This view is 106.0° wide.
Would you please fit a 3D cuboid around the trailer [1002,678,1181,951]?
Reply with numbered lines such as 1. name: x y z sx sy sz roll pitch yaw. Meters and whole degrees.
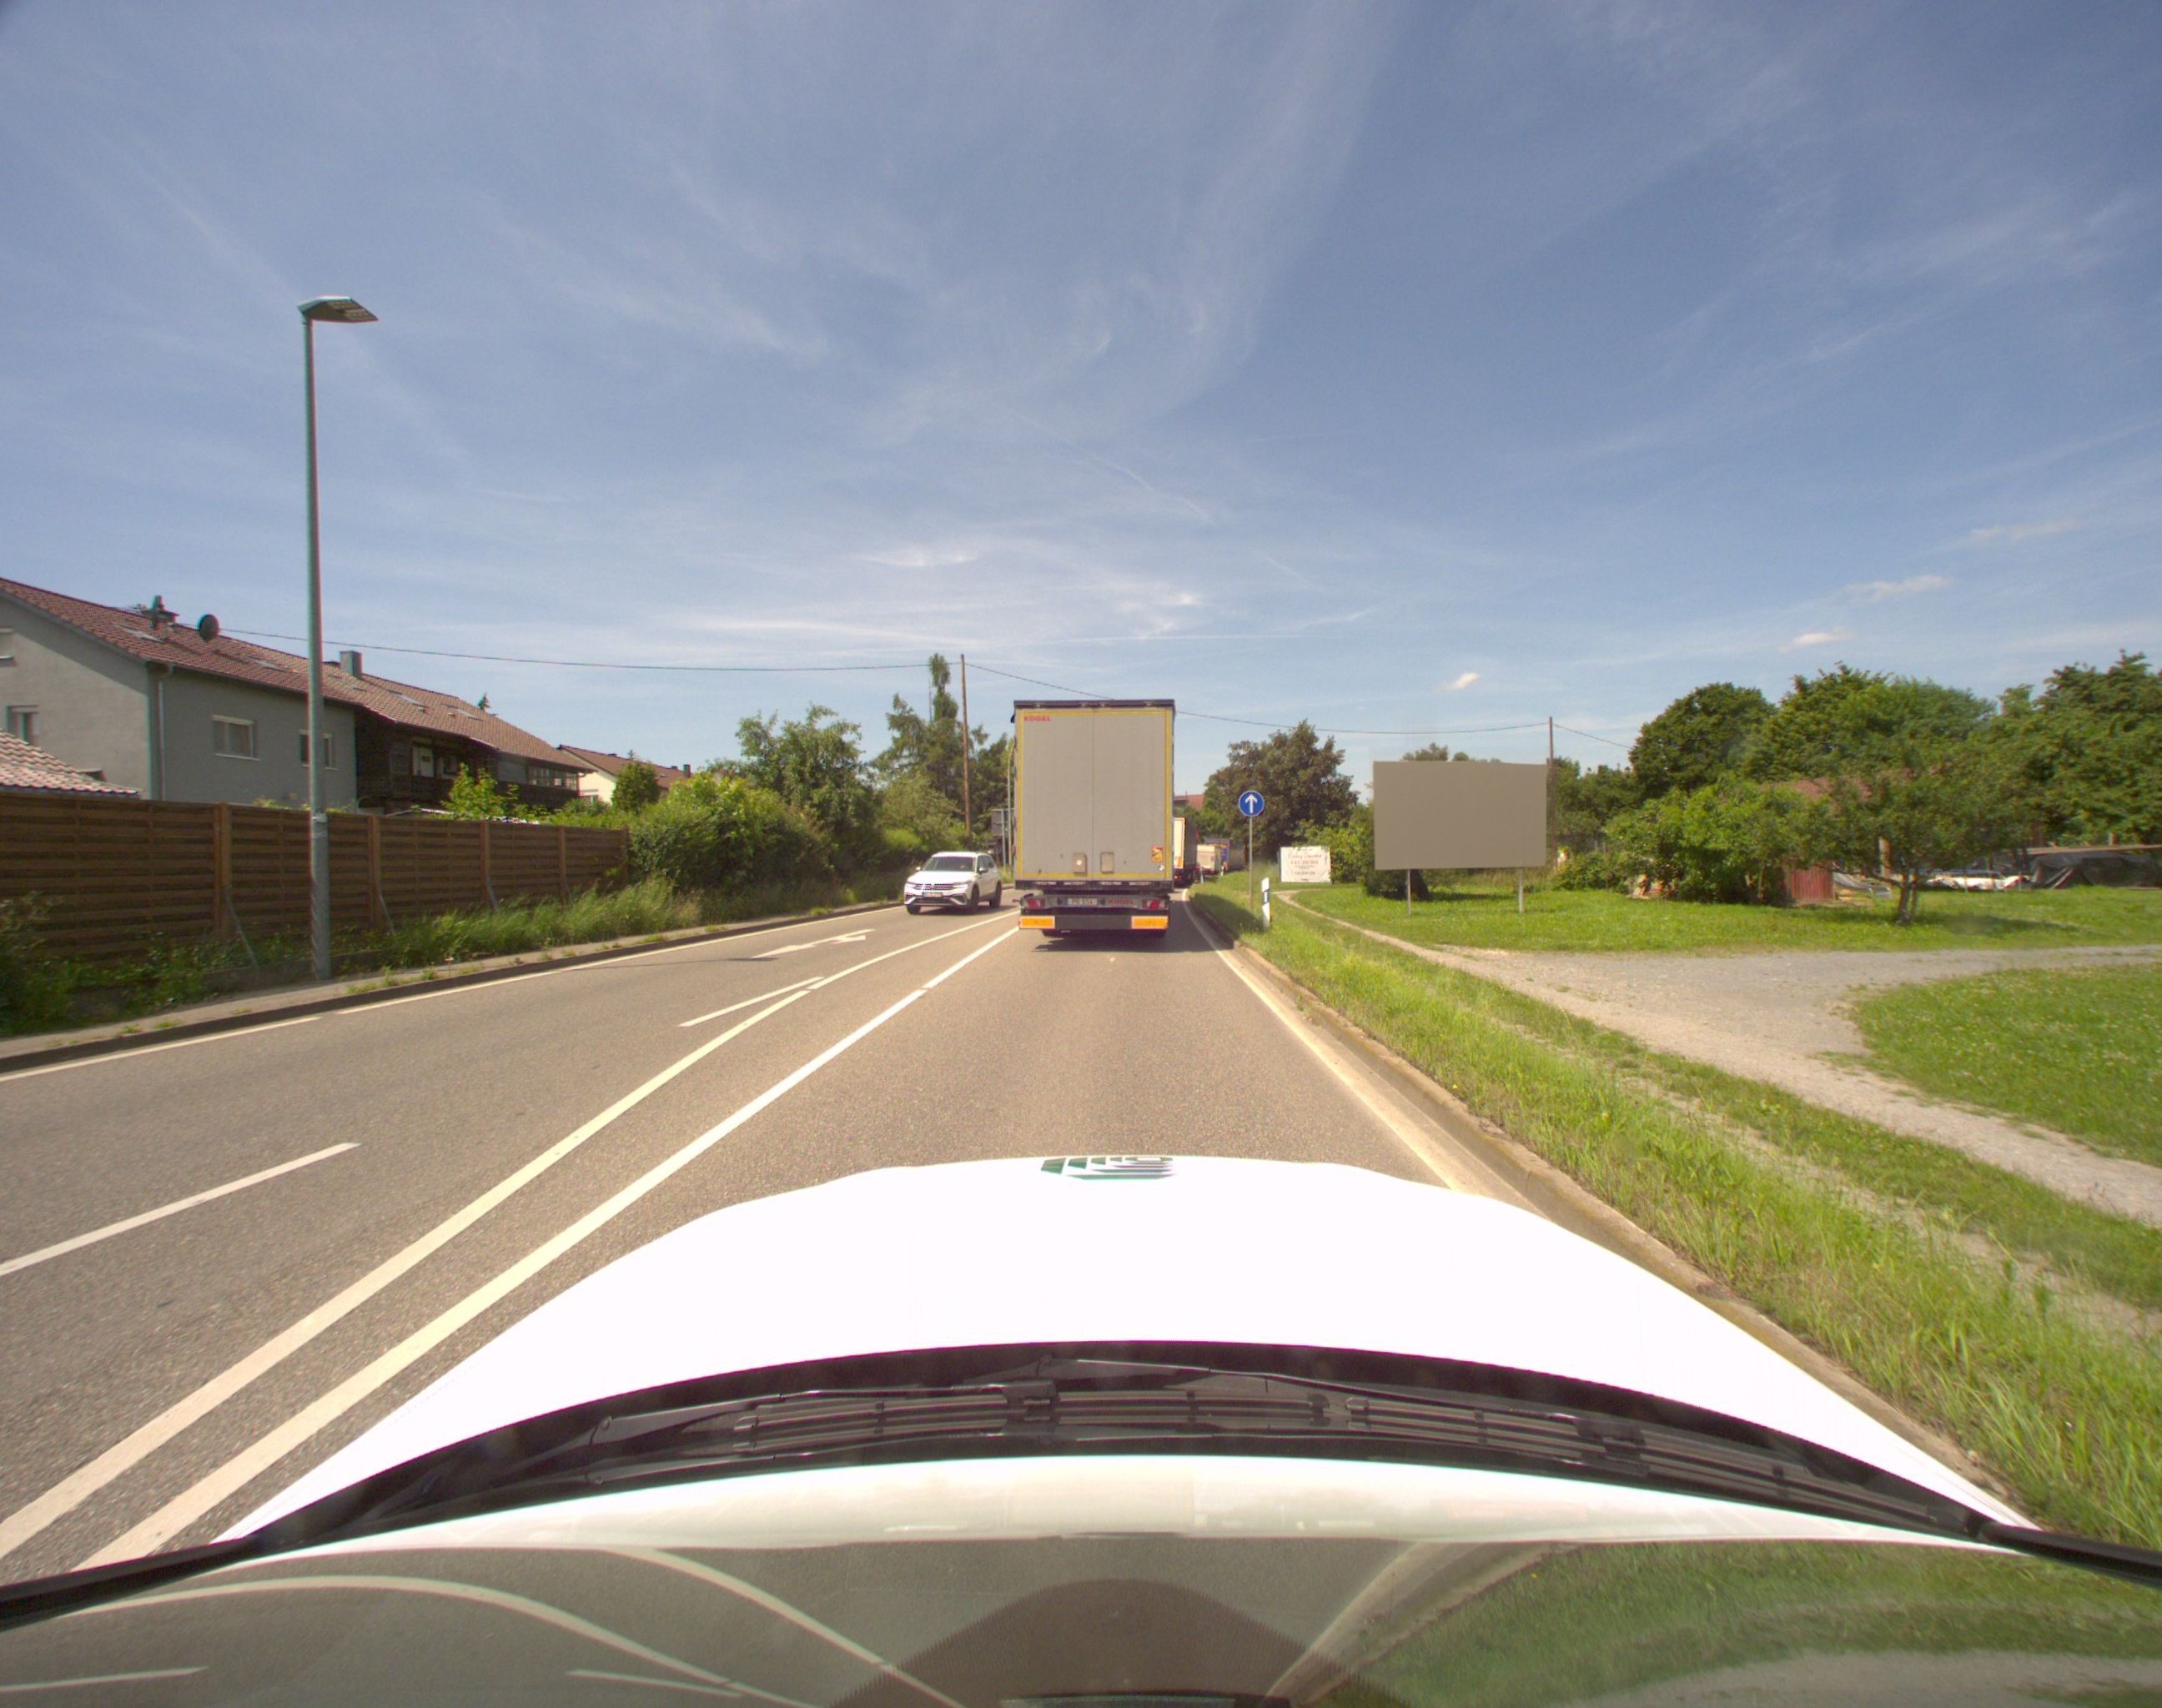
1. trailer: 0.782 -0.634 18.699 2.773 4.205 12.131 0 0 6

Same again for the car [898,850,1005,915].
1. car: -3.512 0.726 22.944 1.836 1.655 4.412 0 0 7

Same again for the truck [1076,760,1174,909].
1. truck: 1.563 -0.542 25.956 2.732 4.165 6.153 0 0 6

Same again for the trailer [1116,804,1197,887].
1. trailer: 5.019 -0.433 50.899 3.867 4.521 12.749 -1 0 10

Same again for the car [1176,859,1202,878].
1. car: 9.109 1.192 68.571 1.829 1.486 4.013 0 0 12

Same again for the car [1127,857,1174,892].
1. car: 3.402 0.947 39.212 1.982 1.530 4.010 0 0 9

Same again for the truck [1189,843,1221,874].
1. truck: 11.683 0.405 76.377 2.403 2.838 5.433 0 0 14

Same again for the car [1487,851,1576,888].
1. car: 25.334 0.854 45.937 3.963 2.013 2.005 0 0 9

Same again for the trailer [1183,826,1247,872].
1. trailer: 15.124 -0.555 90.251 5.140 4.628 15.964 0 0 16

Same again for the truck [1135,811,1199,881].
1. truck: 6.266 -0.503 57.824 3.912 4.575 7.172 -1 -1 10

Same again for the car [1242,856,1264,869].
1. car: 22.994 1.099 108.684 1.975 1.684 4.024 0 0 26
